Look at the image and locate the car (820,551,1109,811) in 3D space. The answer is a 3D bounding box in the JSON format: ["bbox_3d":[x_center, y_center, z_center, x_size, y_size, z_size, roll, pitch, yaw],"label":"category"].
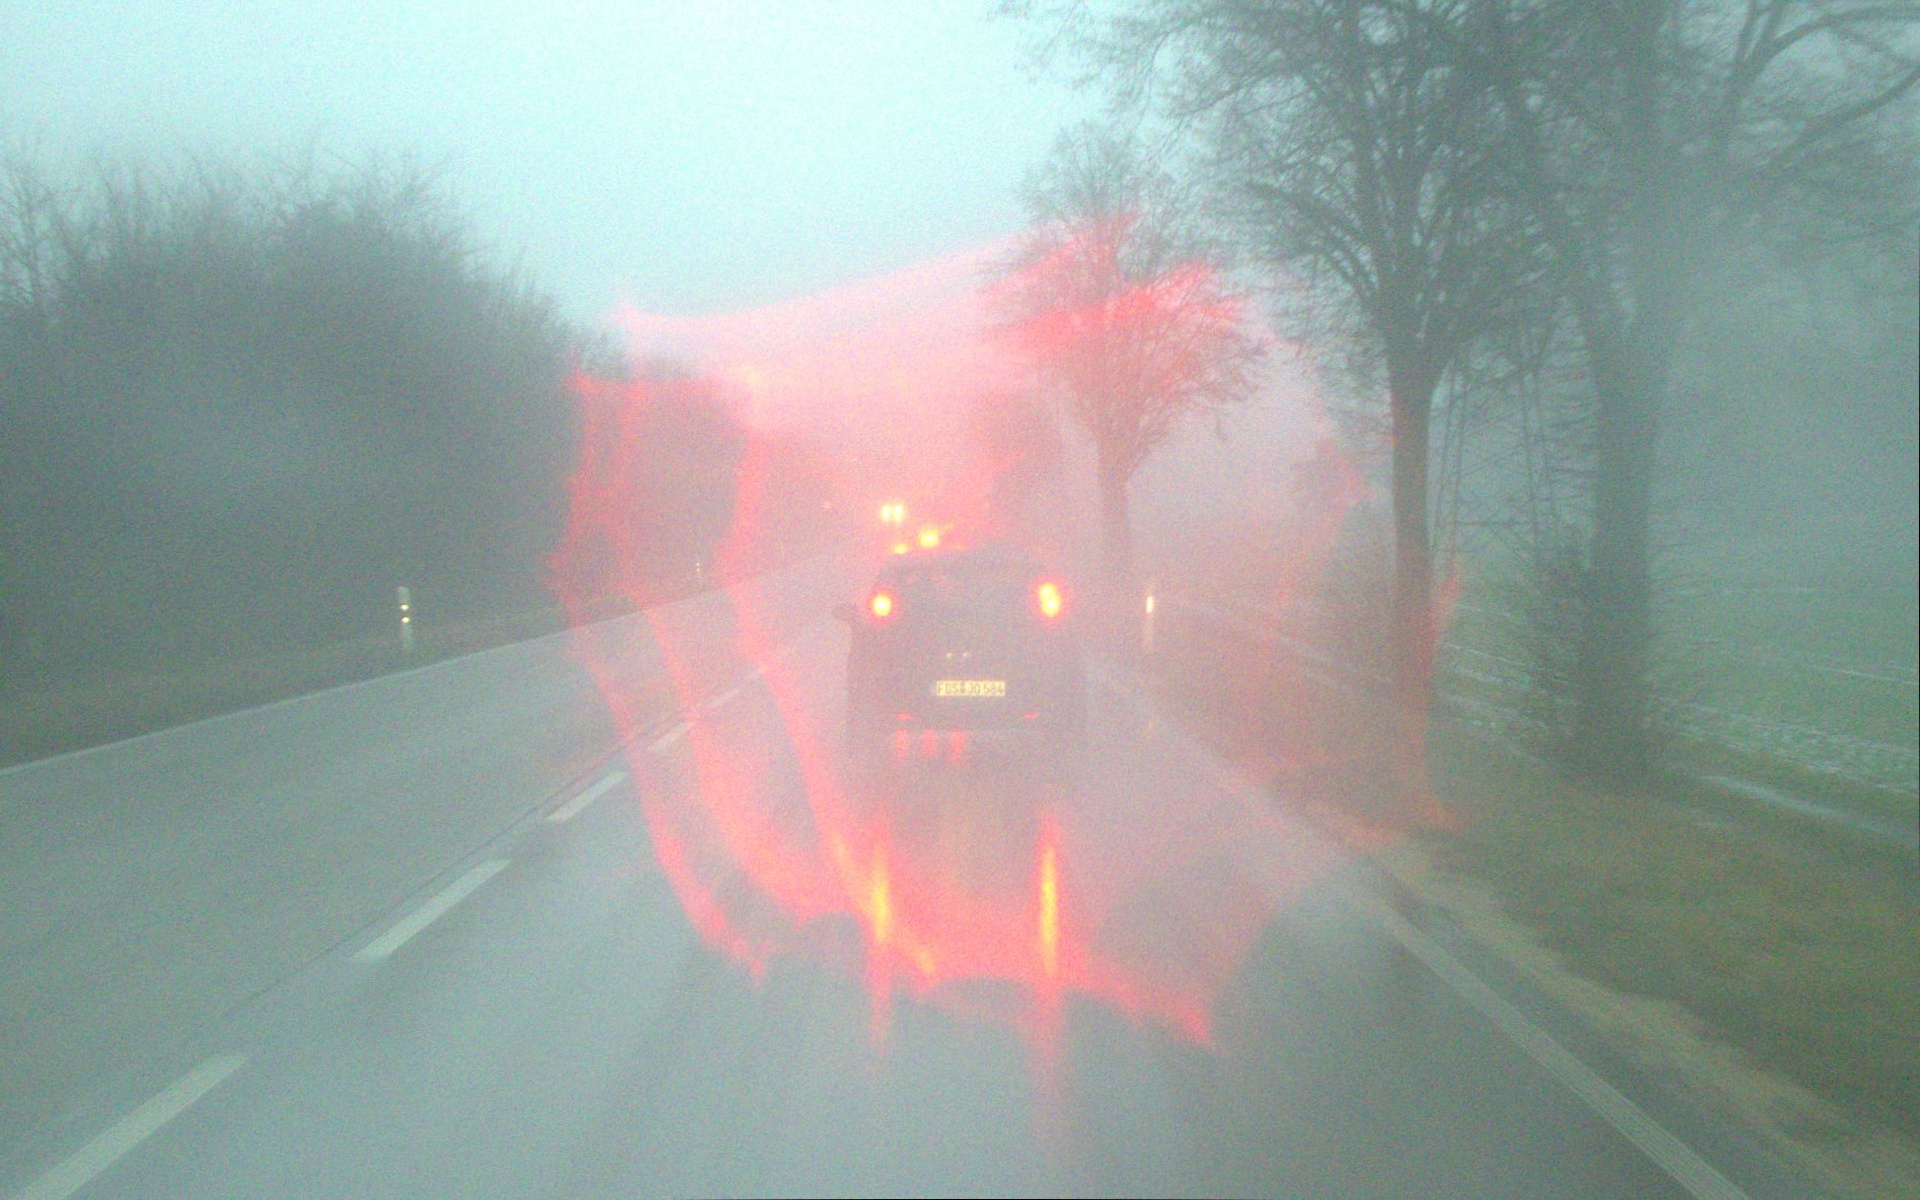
[{"bbox_3d":[0.027,0.531,25.784,1.993,1.746,4.000,0,1,0],"label":"car"}]

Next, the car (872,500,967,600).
[{"bbox_3d":[-0.946,-1.232,82.765,1.994,2.006,4.001,4,5,2],"label":"car"}]
